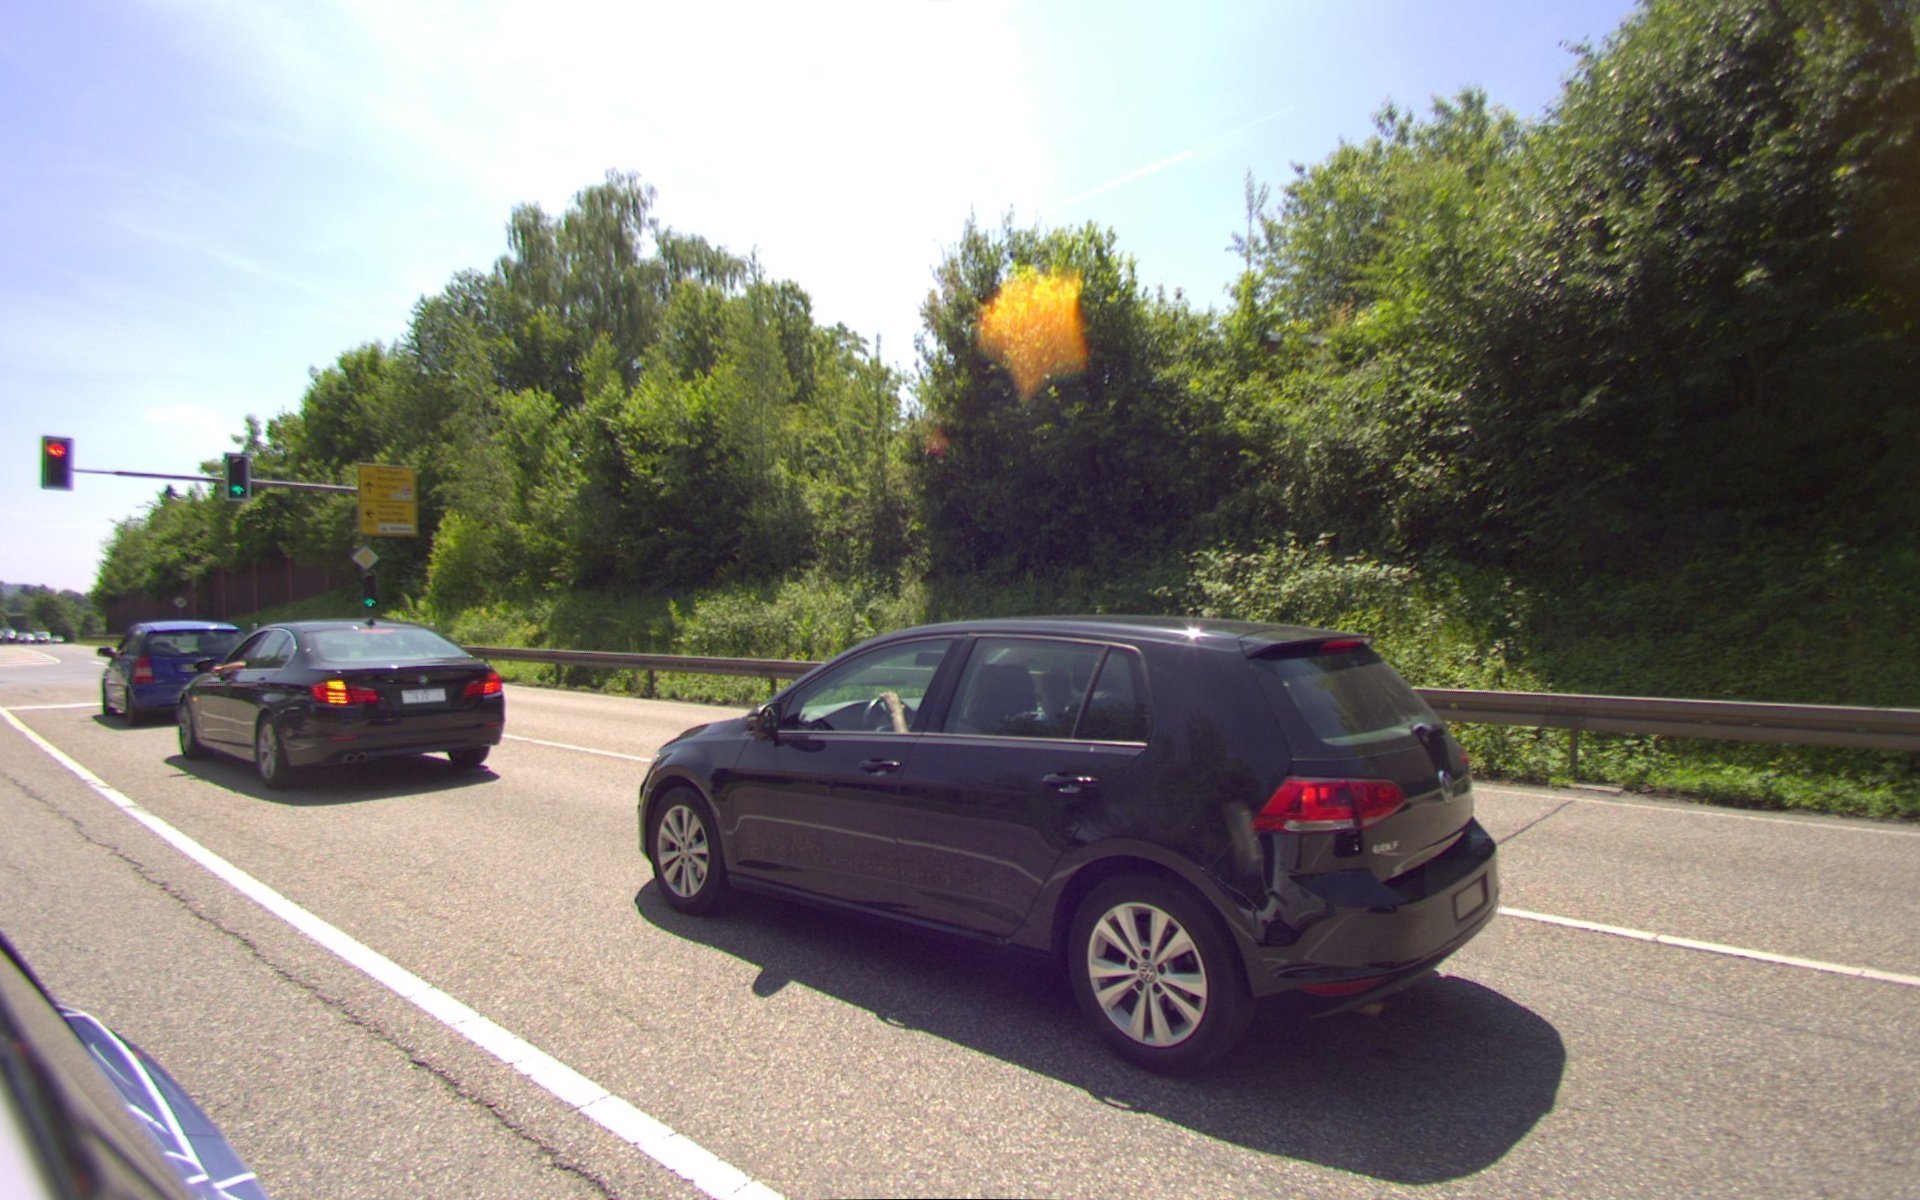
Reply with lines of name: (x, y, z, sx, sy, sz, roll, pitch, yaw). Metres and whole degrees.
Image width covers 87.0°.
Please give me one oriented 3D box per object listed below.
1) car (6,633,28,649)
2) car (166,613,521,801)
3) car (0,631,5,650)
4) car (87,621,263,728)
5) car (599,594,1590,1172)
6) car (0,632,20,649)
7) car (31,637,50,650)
car: (-115.490, 5.025, 123.937, 1.970, 1.780, 4.004, -1, 0, -43)
car: (-6.327, 0.903, 10.126, 4.638, 1.458, 1.763, -2, -1, 42)
car: (-94.289, 3.959, 98.451, 1.970, 1.780, 4.004, -1, 0, -43)
car: (-12.256, 1.078, 15.726, 3.769, 1.451, 1.550, -2, -1, 42)
car: (0.230, 0.732, 4.521, 4.179, 1.425, 1.664, -1, -1, 41)
car: (-102.452, 4.340, 108.780, 1.970, 1.780, 4.004, -1, 0, -43)
car: (-133.173, 6.250, 146.527, 1.970, 1.780, 4.004, -1, 0, -43)
